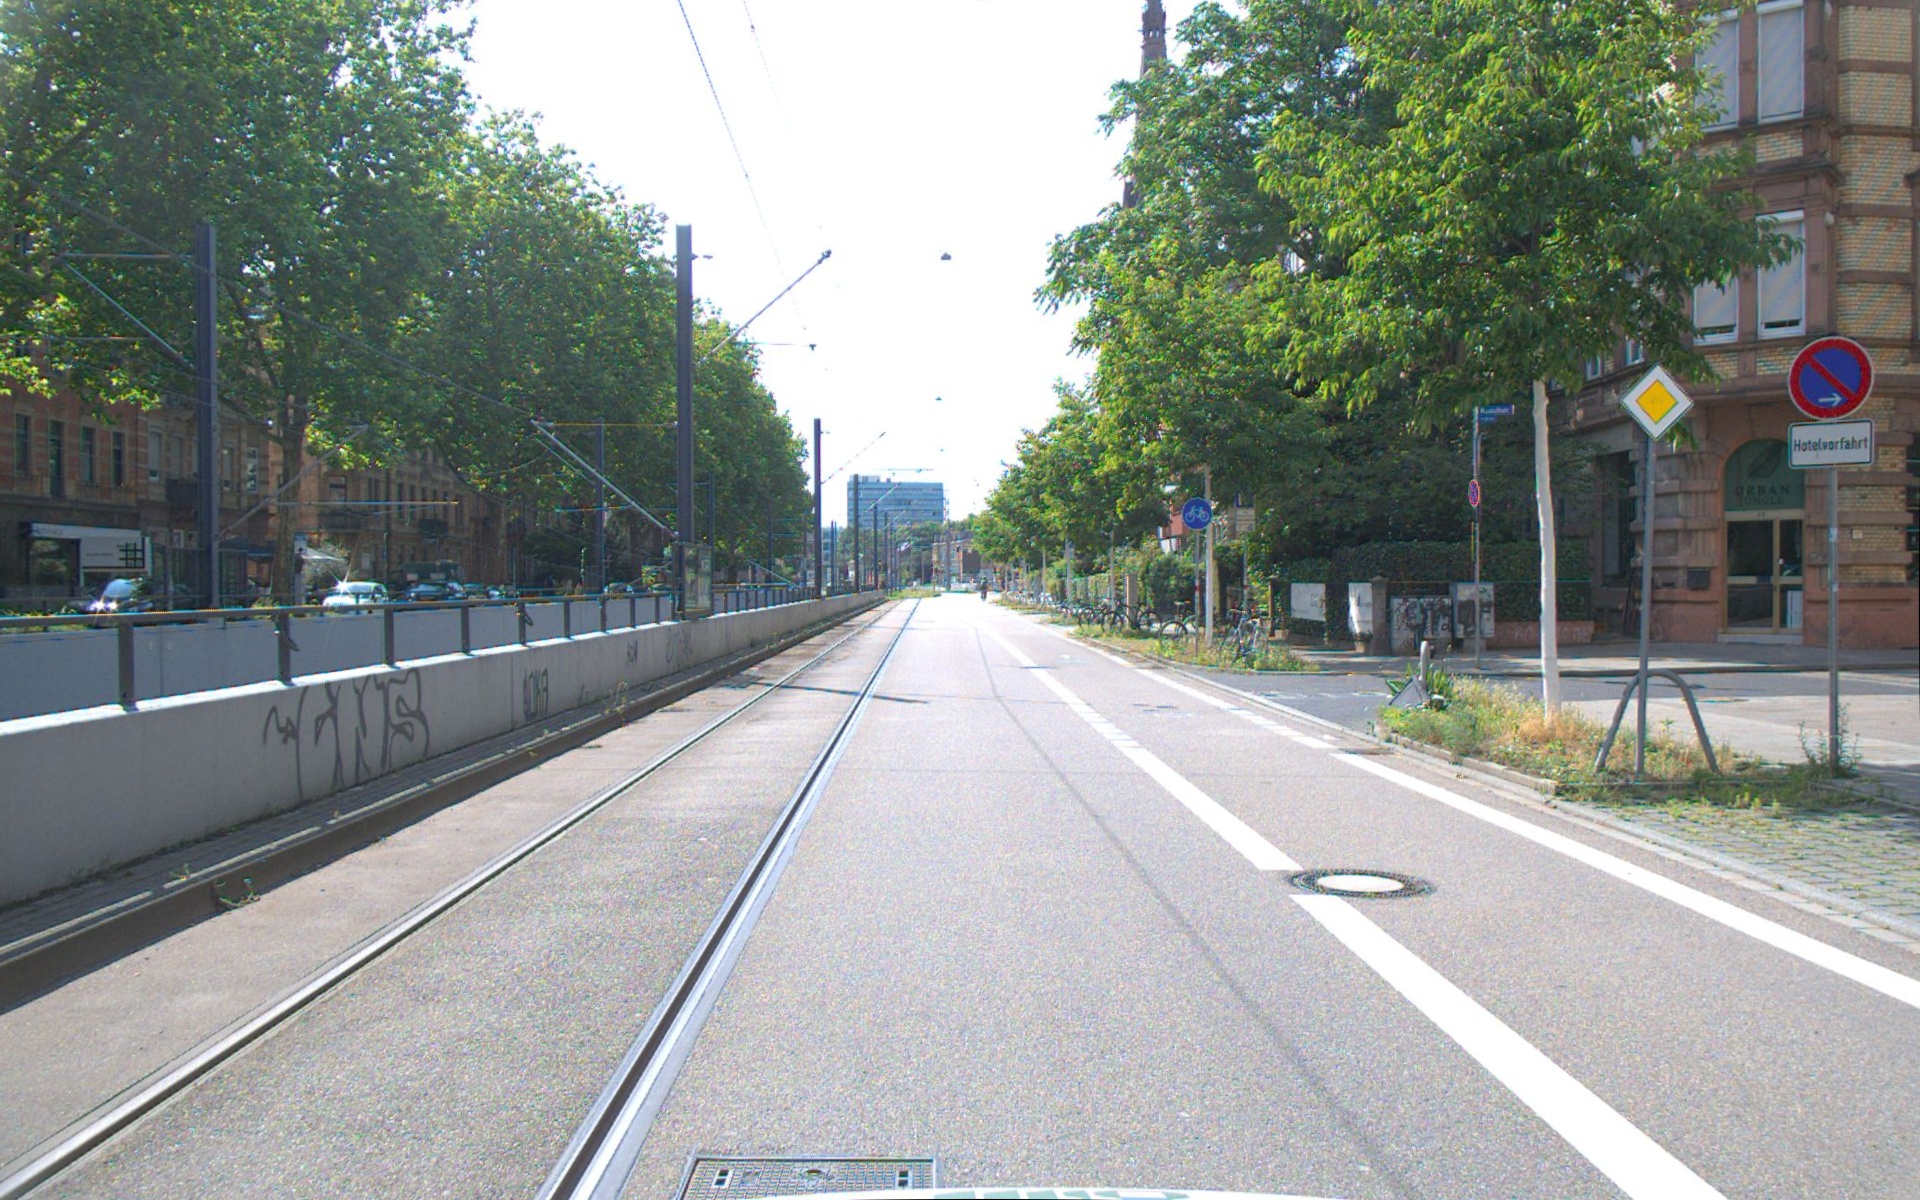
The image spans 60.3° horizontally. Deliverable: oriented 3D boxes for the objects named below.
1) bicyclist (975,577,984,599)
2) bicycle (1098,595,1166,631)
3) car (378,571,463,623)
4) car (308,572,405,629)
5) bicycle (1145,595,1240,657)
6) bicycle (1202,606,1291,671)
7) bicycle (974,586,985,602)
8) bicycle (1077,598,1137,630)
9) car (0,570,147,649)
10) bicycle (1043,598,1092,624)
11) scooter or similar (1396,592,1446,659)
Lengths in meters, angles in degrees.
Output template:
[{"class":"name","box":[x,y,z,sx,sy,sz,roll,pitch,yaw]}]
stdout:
[{"class":"bicyclist","box":[1.555,-0.979,132.156,0.755,1.760,1.026,0,0,-1]},{"class":"bicycle","box":[4.851,0.360,46.731,1.780,0.918,0.651,-3,1,-5]},{"class":"car","box":[-19.831,-0.128,60.931,1.801,1.758,3.999,-3,1,-1]},{"class":"car","box":[-20.358,-0.015,55.938,1.801,1.758,3.999,-3,1,-1]},{"class":"bicycle","box":[4.796,0.527,34.089,1.784,1.165,0.649,-3,1,-12]},{"class":"bicycle","box":[4.984,0.658,28.918,0.640,1.057,1.810,-3,1,-22]},{"class":"bicycle","box":[1.555,-0.506,132.264,0.783,1.258,2.777,0,1,0]},{"class":"bicycle","box":[4.590,0.429,51.662,1.780,0.918,0.603,-3,1,-5]},{"class":"car","box":[-20.224,0.177,37.065,1.952,1.665,4.001,0,1,1]},{"class":"bicycle","box":[4.082,0.412,62.917,1.780,0.918,0.603,-3,1,-5]},{"class":"scooter or similar","box":[8.436,0.456,30.300,0.451,1.178,1.573,-1,1,0]}]
